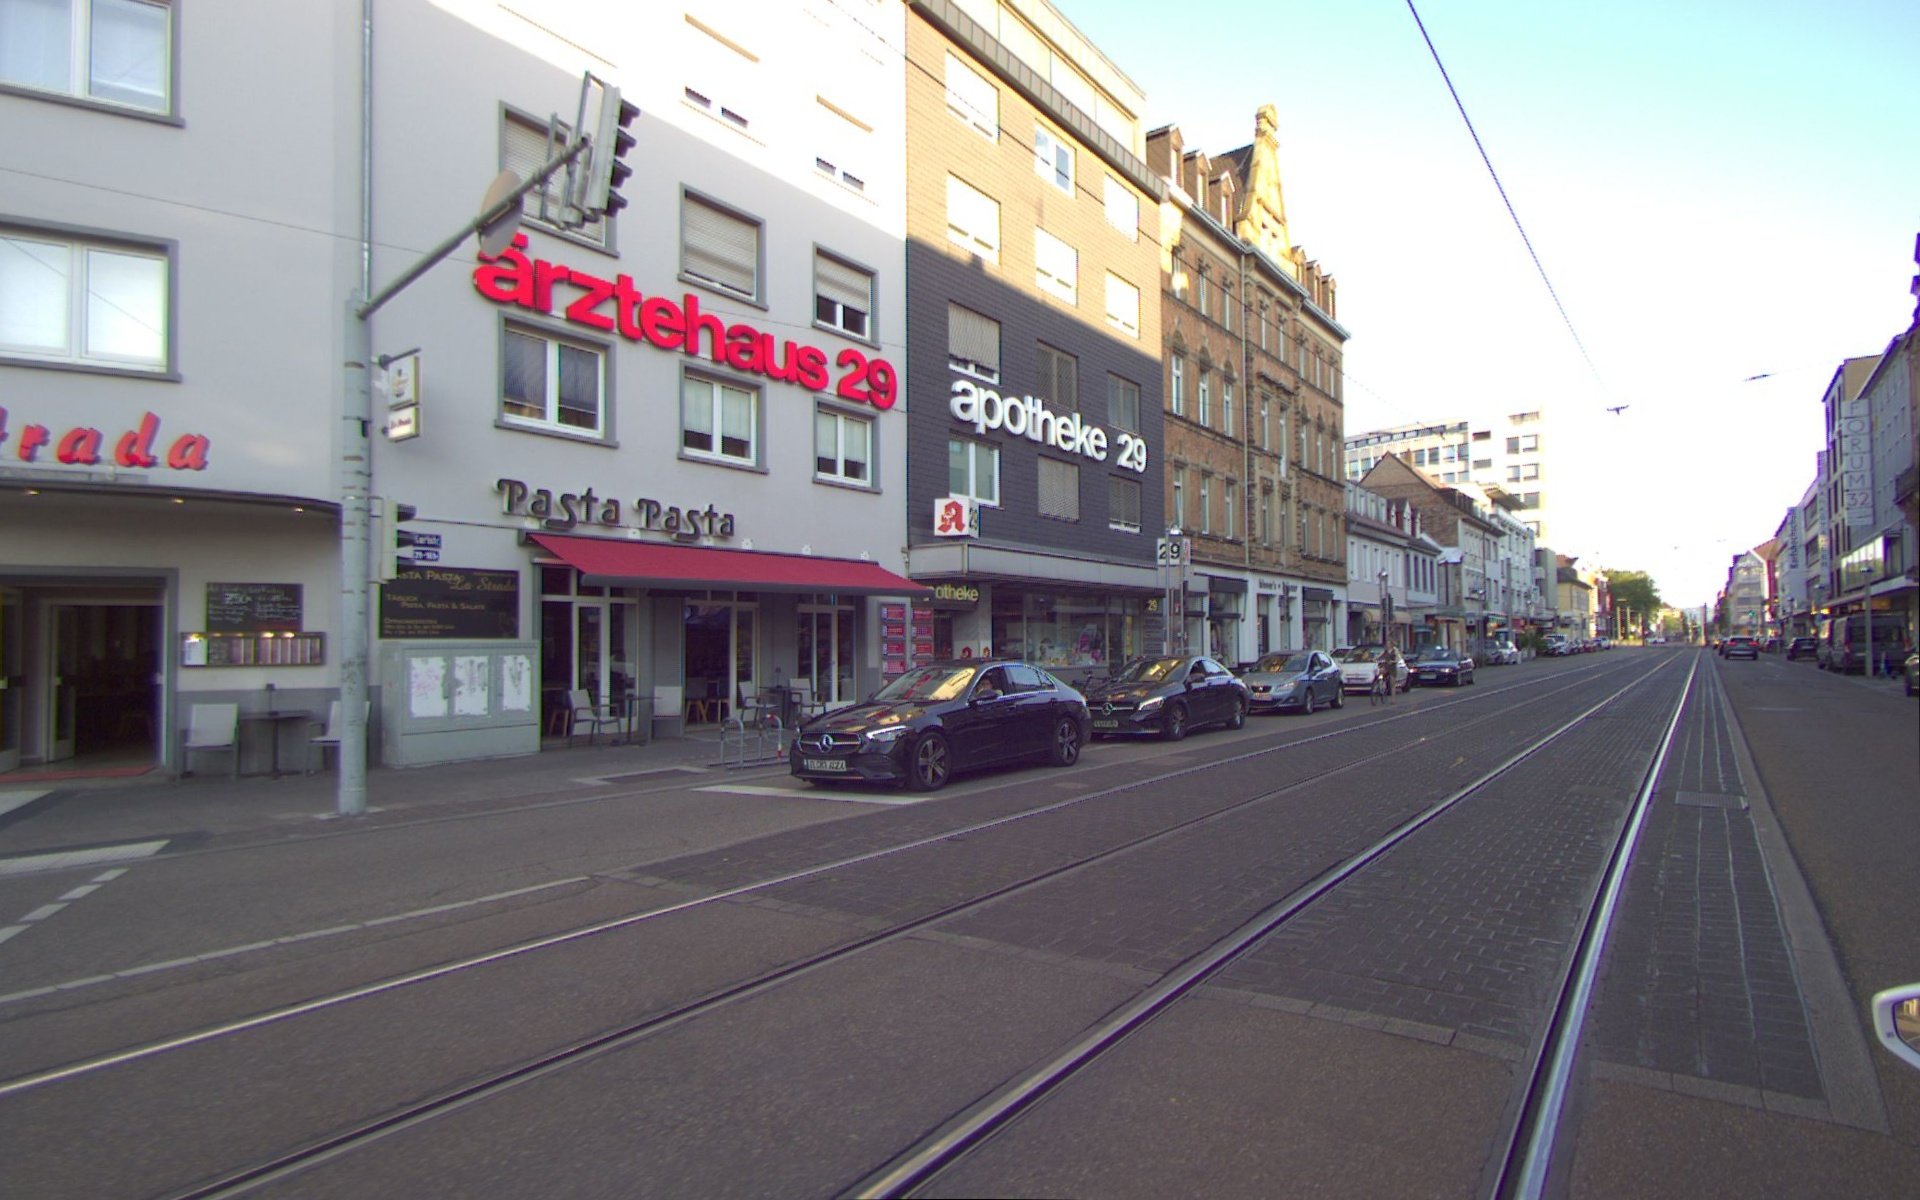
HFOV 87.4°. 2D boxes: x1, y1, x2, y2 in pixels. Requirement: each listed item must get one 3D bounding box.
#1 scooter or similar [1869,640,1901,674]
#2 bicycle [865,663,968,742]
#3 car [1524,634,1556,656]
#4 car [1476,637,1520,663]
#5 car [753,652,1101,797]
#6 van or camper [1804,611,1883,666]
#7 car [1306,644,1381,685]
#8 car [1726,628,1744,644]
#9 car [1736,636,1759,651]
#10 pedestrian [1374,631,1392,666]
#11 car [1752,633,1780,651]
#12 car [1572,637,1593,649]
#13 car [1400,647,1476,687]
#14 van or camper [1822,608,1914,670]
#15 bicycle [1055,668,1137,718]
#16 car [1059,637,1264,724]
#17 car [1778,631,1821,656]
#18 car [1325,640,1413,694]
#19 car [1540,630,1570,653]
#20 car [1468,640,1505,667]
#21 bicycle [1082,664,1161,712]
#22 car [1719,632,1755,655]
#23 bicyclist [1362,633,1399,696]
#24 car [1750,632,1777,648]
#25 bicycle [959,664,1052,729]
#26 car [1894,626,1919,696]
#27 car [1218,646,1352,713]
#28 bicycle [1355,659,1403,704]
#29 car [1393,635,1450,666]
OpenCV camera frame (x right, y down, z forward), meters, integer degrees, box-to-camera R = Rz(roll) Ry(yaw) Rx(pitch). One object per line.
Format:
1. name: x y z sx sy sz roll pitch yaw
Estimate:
1. scooter or similar: 34.916 2.154 37.910 1.099 1.239 0.354 -1 -4 -21
2. bicycle: -0.789 1.790 17.863 1.832 1.243 0.605 1 -1 37
3. car: 50.088 3.858 86.717 1.893 1.786 4.414 1 -1 37
4. car: 34.753 3.199 64.797 1.826 1.524 4.824 1 -1 37
5. car: -0.202 1.424 12.527 1.891 1.404 4.546 -5 -5 37
6. van or camper: 43.093 1.922 49.123 2.160 2.457 5.500 -5 -5 35
7. car: 14.879 2.447 38.866 1.735 1.408 4.261 1 -1 34
8. car: 113.471 5.239 147.049 1.920 2.173 4.527 -5 -4 37
9. car: 90.924 5.015 116.008 1.920 1.725 4.527 -5 -5 37
10. pedestrian: 22.074 2.537 52.413 0.639 1.796 0.852 0 -2 37
11. car: 78.849 4.107 98.339 1.920 1.564 4.527 -5 -5 37
12. car: 69.286 4.776 111.754 1.767 1.356 3.878 1 -1 36
13. car: 17.050 2.361 35.712 1.646 1.244 4.259 -5 -5 36
14. van or camper: 39.596 1.712 43.961 2.161 2.457 6.111 -5 -5 36
15. bicycle: 3.089 2.111 22.941 1.832 0.996 0.491 1 -1 37
16. car: 3.858 1.443 18.631 1.891 1.404 4.546 -5 -5 37
17. car: 56.513 2.942 67.678 1.920 1.564 4.527 -5 -5 37
18. car: 12.731 2.059 31.157 1.646 1.525 3.668 -5 -5 36
19. car: 55.104 3.835 93.012 1.893 1.961 4.824 1 -1 37
20. car: 32.076 3.223 61.172 1.571 1.524 2.803 1 -1 36
21. bicycle: 3.838 2.084 23.964 1.832 0.996 0.461 1 -1 37
22. car: 55.276 3.066 71.532 1.919 1.565 4.527 -2 -3 37
23. bicyclist: 10.746 1.633 25.660 0.684 1.586 0.796 -2 -3 35
24. car: 82.049 4.101 102.571 1.920 1.564 4.527 -5 -5 37
25. bicycle: 0.901 1.914 20.171 1.832 1.149 0.605 1 -1 37
26. car: 25.557 1.497 25.605 1.960 1.757 4.653 -5 -5 37
27. car: 7.737 1.839 23.689 1.737 1.404 4.046 -5 -5 37
28. bicycle: 10.676 2.052 25.530 0.684 1.047 2.075 -2 -3 35
29. car: 22.316 2.425 48.527 1.712 1.408 3.850 1 -1 37
